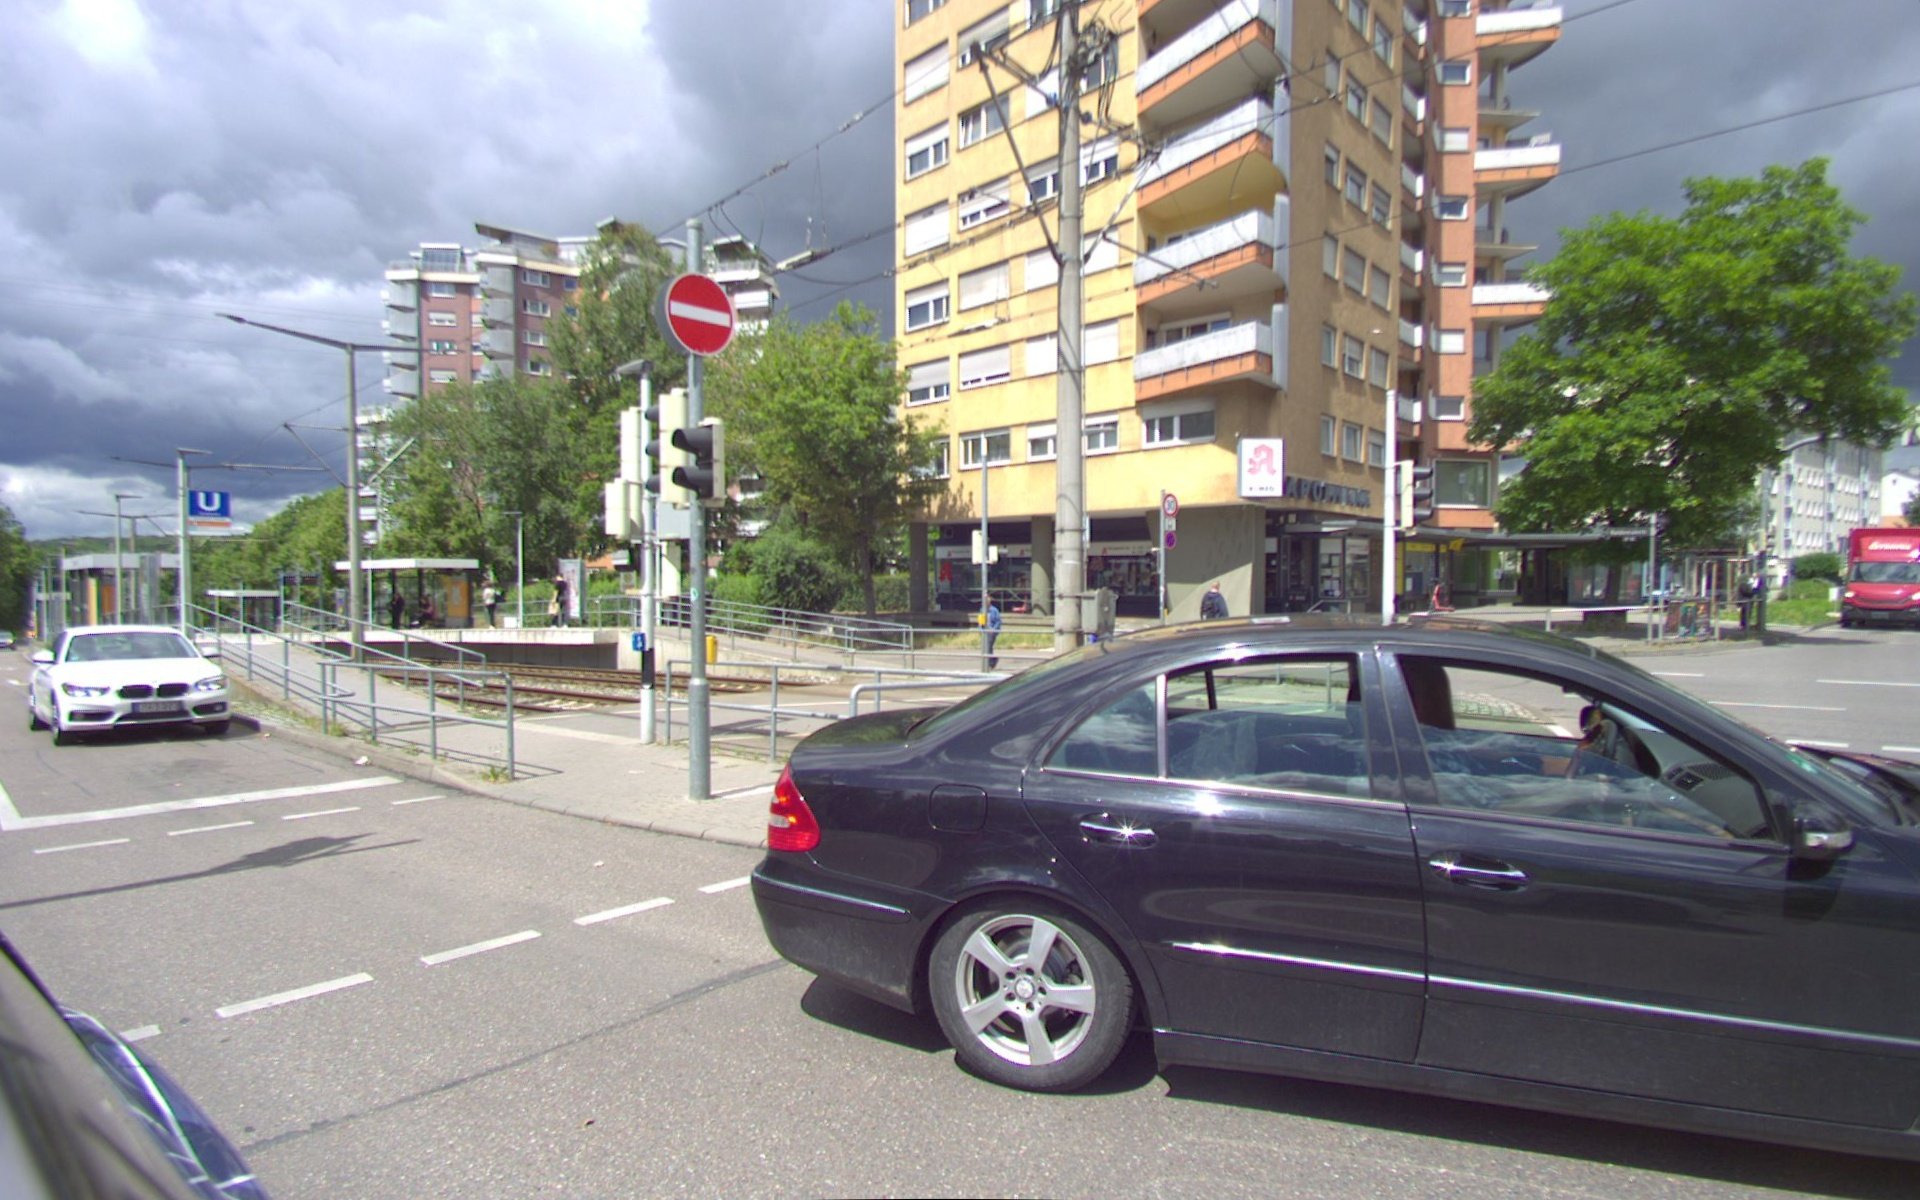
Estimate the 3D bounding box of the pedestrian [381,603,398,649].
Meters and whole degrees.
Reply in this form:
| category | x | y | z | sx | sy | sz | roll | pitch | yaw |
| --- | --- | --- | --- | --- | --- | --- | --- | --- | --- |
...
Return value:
| category | x | y | z | sx | sy | sz | roll | pitch | yaw |
| --- | --- | --- | --- | --- | --- | --- | --- | --- | --- |
| pedestrian | -25.042 | 1.141 | 44.403 | 0.558 | 2.029 | 0.510 | -1 | -1 | 43 |

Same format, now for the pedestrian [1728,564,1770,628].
| category | x | y | z | sx | sy | sz | roll | pitch | yaw |
| --- | --- | --- | --- | --- | --- | --- | --- | --- | --- |
| pedestrian | 22.630 | -0.109 | 29.042 | 0.637 | 1.825 | 0.884 | -1 | -1 | 15 |

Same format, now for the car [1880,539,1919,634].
| category | x | y | z | sx | sy | sz | roll | pitch | yaw |
| --- | --- | --- | --- | --- | --- | --- | --- | --- | --- |
| car | 36.057 | -0.483 | 37.542 | 6.206 | 3.324 | 2.003 | 0 | -1 | -40 |

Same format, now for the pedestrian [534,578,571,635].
| category | x | y | z | sx | sy | sz | roll | pitch | yaw |
| --- | --- | --- | --- | --- | --- | --- | --- | --- | --- |
| pedestrian | -12.965 | 0.212 | 32.175 | 0.747 | 1.787 | 0.854 | -1 | -1 | 42 |

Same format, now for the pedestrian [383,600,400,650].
| category | x | y | z | sx | sy | sz | roll | pitch | yaw |
| --- | --- | --- | --- | --- | --- | --- | --- | --- | --- |
| pedestrian | -24.775 | 1.092 | 44.091 | 0.524 | 2.158 | 0.608 | 0 | -1 | -44 |

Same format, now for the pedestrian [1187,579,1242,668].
| category | x | y | z | sx | sy | sz | roll | pitch | yaw |
| --- | --- | --- | --- | --- | --- | --- | --- | --- | --- |
| pedestrian | 5.721 | 0.525 | 22.740 | 0.853 | 1.949 | 0.908 | -1 | -1 | 42 |

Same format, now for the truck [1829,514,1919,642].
| category | x | y | z | sx | sy | sz | roll | pitch | yaw |
| --- | --- | --- | --- | --- | --- | --- | --- | --- | --- |
| truck | 29.895 | -0.646 | 32.164 | 6.991 | 3.702 | 2.550 | 0 | -1 | -42 |

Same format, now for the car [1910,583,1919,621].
| category | x | y | z | sx | sy | sz | roll | pitch | yaw |
| --- | --- | --- | --- | --- | --- | --- | --- | --- | --- |
| car | 42.194 | 0.065 | 43.101 | 3.937 | 1.614 | 2.003 | 0 | -1 | -40 |

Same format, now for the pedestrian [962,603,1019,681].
| category | x | y | z | sx | sy | sz | roll | pitch | yaw |
| --- | --- | --- | --- | --- | --- | --- | --- | --- | --- |
| pedestrian | 0.672 | 0.898 | 22.169 | 0.910 | 1.609 | 0.712 | -1 | 4 | 39 |

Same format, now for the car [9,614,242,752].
| category | x | y | z | sx | sy | sz | roll | pitch | yaw |
| --- | --- | --- | --- | --- | --- | --- | --- | --- | --- |
| car | -11.249 | 0.976 | 13.530 | 4.275 | 1.462 | 1.770 | 1 | -1 | 42 |

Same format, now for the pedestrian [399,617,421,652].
| category | x | y | z | sx | sy | sz | roll | pitch | yaw |
| --- | --- | --- | --- | --- | --- | --- | --- | --- | --- |
| pedestrian | -22.799 | 1.434 | 41.936 | 0.658 | 1.425 | 0.637 | -1 | -1 | 43 |

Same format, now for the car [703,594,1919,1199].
| category | x | y | z | sx | sy | sz | roll | pitch | yaw |
| --- | --- | --- | --- | --- | --- | --- | --- | --- | --- |
| car | 1.673 | 0.709 | 3.295 | 4.644 | 1.409 | 1.963 | -1 | -1 | 23 |

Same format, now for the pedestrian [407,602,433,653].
| category | x | y | z | sx | sy | sz | roll | pitch | yaw |
| --- | --- | --- | --- | --- | --- | --- | --- | --- | --- |
| pedestrian | -21.949 | 1.117 | 41.161 | 0.584 | 2.029 | 0.770 | -1 | -1 | 43 |

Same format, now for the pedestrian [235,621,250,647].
| category | x | y | z | sx | sy | sz | roll | pitch | yaw |
| --- | --- | --- | --- | --- | --- | --- | --- | --- | --- |
| pedestrian | -47.978 | 2.256 | 67.660 | 0.763 | 1.719 | 0.767 | 0 | -1 | -39 |

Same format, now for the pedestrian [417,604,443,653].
| category | x | y | z | sx | sy | sz | roll | pitch | yaw |
| --- | --- | --- | --- | --- | --- | --- | --- | --- | --- |
| pedestrian | -21.293 | 1.134 | 40.626 | 0.573 | 1.946 | 0.761 | -1 | -1 | 41 |

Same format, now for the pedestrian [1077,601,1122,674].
| category | x | y | z | sx | sy | sz | roll | pitch | yaw |
| --- | --- | --- | --- | --- | --- | --- | --- | --- | --- |
| pedestrian | 2.990 | 0.797 | 21.707 | 0.649 | 1.525 | 0.711 | -1 | -1 | 43 |

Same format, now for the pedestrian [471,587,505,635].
| category | x | y | z | sx | sy | sz | roll | pitch | yaw |
| --- | --- | --- | --- | --- | --- | --- | --- | --- | --- |
| pedestrian | -16.243 | 0.370 | 34.814 | 0.747 | 1.618 | 0.854 | -1 | -1 | 42 |

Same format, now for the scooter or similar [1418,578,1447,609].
| category | x | y | z | sx | sy | sz | roll | pitch | yaw |
| --- | --- | --- | --- | --- | --- | --- | --- | --- | --- |
| scooter or similar | 17.117 | -0.222 | 36.631 | 0.544 | 1.102 | 1.730 | -1 | -1 | 38 |

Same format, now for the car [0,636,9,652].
| category | x | y | z | sx | sy | sz | roll | pitch | yaw |
| --- | --- | --- | --- | --- | --- | --- | --- | --- | --- |
| car | -78.239 | 3.557 | 81.957 | 1.780 | 1.224 | 4.025 | 0 | -1 | -43 |
